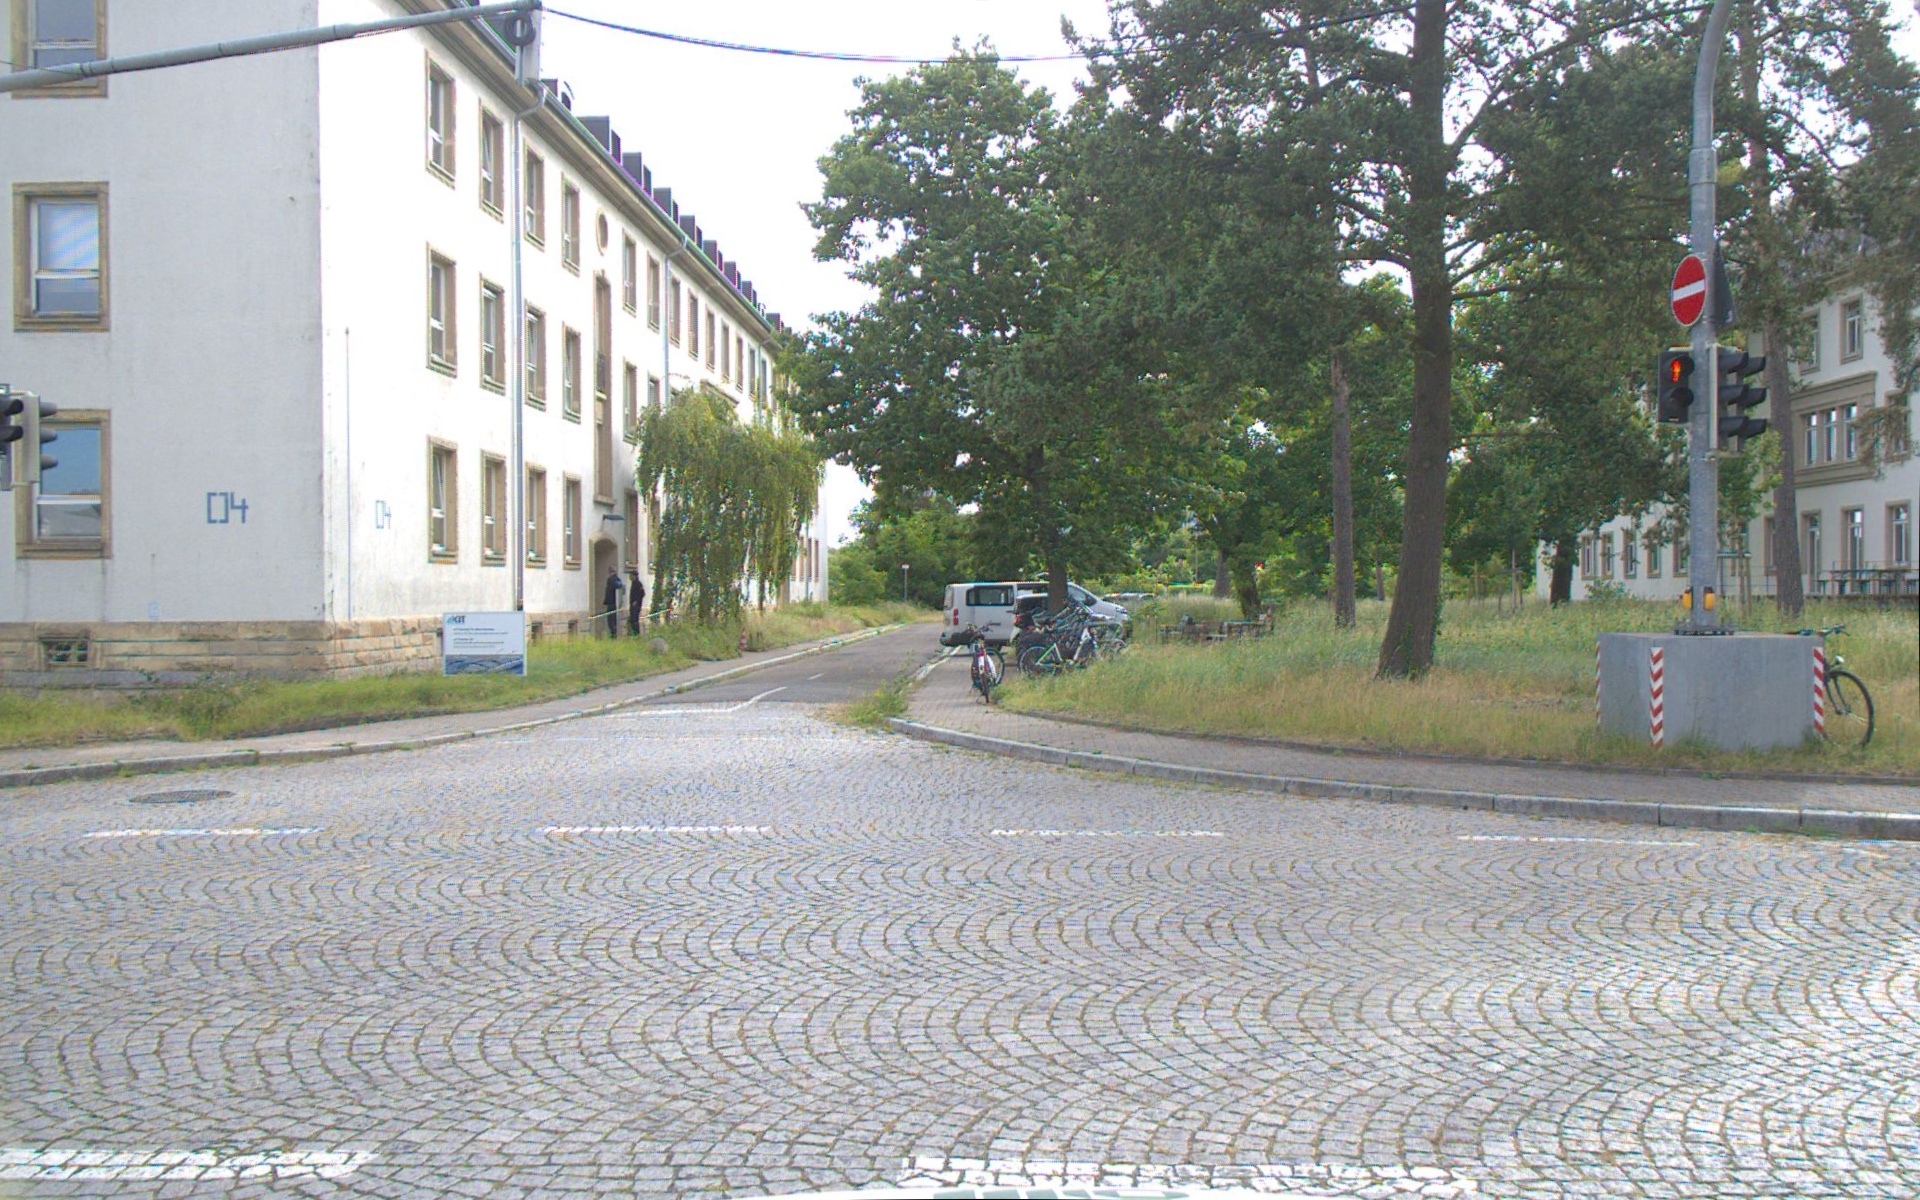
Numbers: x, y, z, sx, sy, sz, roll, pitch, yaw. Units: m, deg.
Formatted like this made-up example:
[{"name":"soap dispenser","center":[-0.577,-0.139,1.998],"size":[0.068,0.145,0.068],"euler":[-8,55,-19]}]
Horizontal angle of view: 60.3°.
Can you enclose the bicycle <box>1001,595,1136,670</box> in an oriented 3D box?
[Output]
[{"name":"bicycle","center":[2.055,0.612,31.512],"size":[2.515,1.396,0.951],"euler":[0,0,1]}]

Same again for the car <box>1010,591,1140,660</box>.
[{"name":"car","center":[2.854,0.631,41.567],"size":[3.158,1.649,1.938],"euler":[1,0,1]}]

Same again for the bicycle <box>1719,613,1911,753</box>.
[{"name":"bicycle","center":[7.409,0.687,14.433],"size":[0.631,1.081,1.833],"euler":[-4,0,-1]}]

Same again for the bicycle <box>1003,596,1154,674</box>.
[{"name":"bicycle","center":[2.168,0.638,30.544],"size":[2.744,1.396,0.951],"euler":[0,0,1]}]

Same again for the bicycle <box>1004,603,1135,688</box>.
[{"name":"bicycle","center":[1.745,0.725,26.714],"size":[2.069,1.329,0.874],"euler":[0,0,1]}]

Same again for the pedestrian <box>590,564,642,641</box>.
[{"name":"pedestrian","center":[-8.686,0.072,41.847],"size":[1.172,1.902,1.547],"euler":[1,0,-8]}]

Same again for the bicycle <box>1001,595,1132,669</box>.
[{"name":"bicycle","center":[2.068,0.616,32.352],"size":[2.515,1.396,0.951],"euler":[0,0,1]}]

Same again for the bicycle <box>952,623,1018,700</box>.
[{"name":"bicycle","center":[0.356,0.844,23.376],"size":[0.882,1.014,1.979],"euler":[0,0,1]}]

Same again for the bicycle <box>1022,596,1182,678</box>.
[{"name":"bicycle","center":[2.472,0.636,29.106],"size":[2.744,1.396,0.951],"euler":[0,0,1]}]

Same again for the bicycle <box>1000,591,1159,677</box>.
[{"name":"bicycle","center":[1.950,0.552,27.320],"size":[2.565,1.391,0.874],"euler":[0,0,1]}]

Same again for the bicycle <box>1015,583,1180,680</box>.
[{"name":"bicycle","center":[2.316,0.533,28.180],"size":[2.744,1.611,0.951],"euler":[0,0,1]}]

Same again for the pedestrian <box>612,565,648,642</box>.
[{"name":"pedestrian","center":[-8.559,0.096,42.924],"size":[0.849,1.966,0.835],"euler":[2,0,-10]}]

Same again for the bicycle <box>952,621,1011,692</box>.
[{"name":"bicycle","center":[0.349,0.854,25.470],"size":[0.712,1.014,1.980],"euler":[0,0,6]}]

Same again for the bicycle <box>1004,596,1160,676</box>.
[{"name":"bicycle","center":[2.169,0.634,29.650],"size":[2.744,1.396,0.951],"euler":[0,0,1]}]

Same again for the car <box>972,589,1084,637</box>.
[{"name":"car","center":[2.379,0.461,58.665],"size":[3.905,1.628,1.703],"euler":[0,0,-1]}]

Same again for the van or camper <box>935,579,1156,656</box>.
[{"name":"van or camper","center":[2.280,0.456,44.837],"size":[5.638,1.991,2.232],"euler":[0,0,-11]}]

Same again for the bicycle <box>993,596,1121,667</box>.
[{"name":"bicycle","center":[1.934,0.618,33.195],"size":[2.515,1.396,0.951],"euler":[0,0,1]}]
